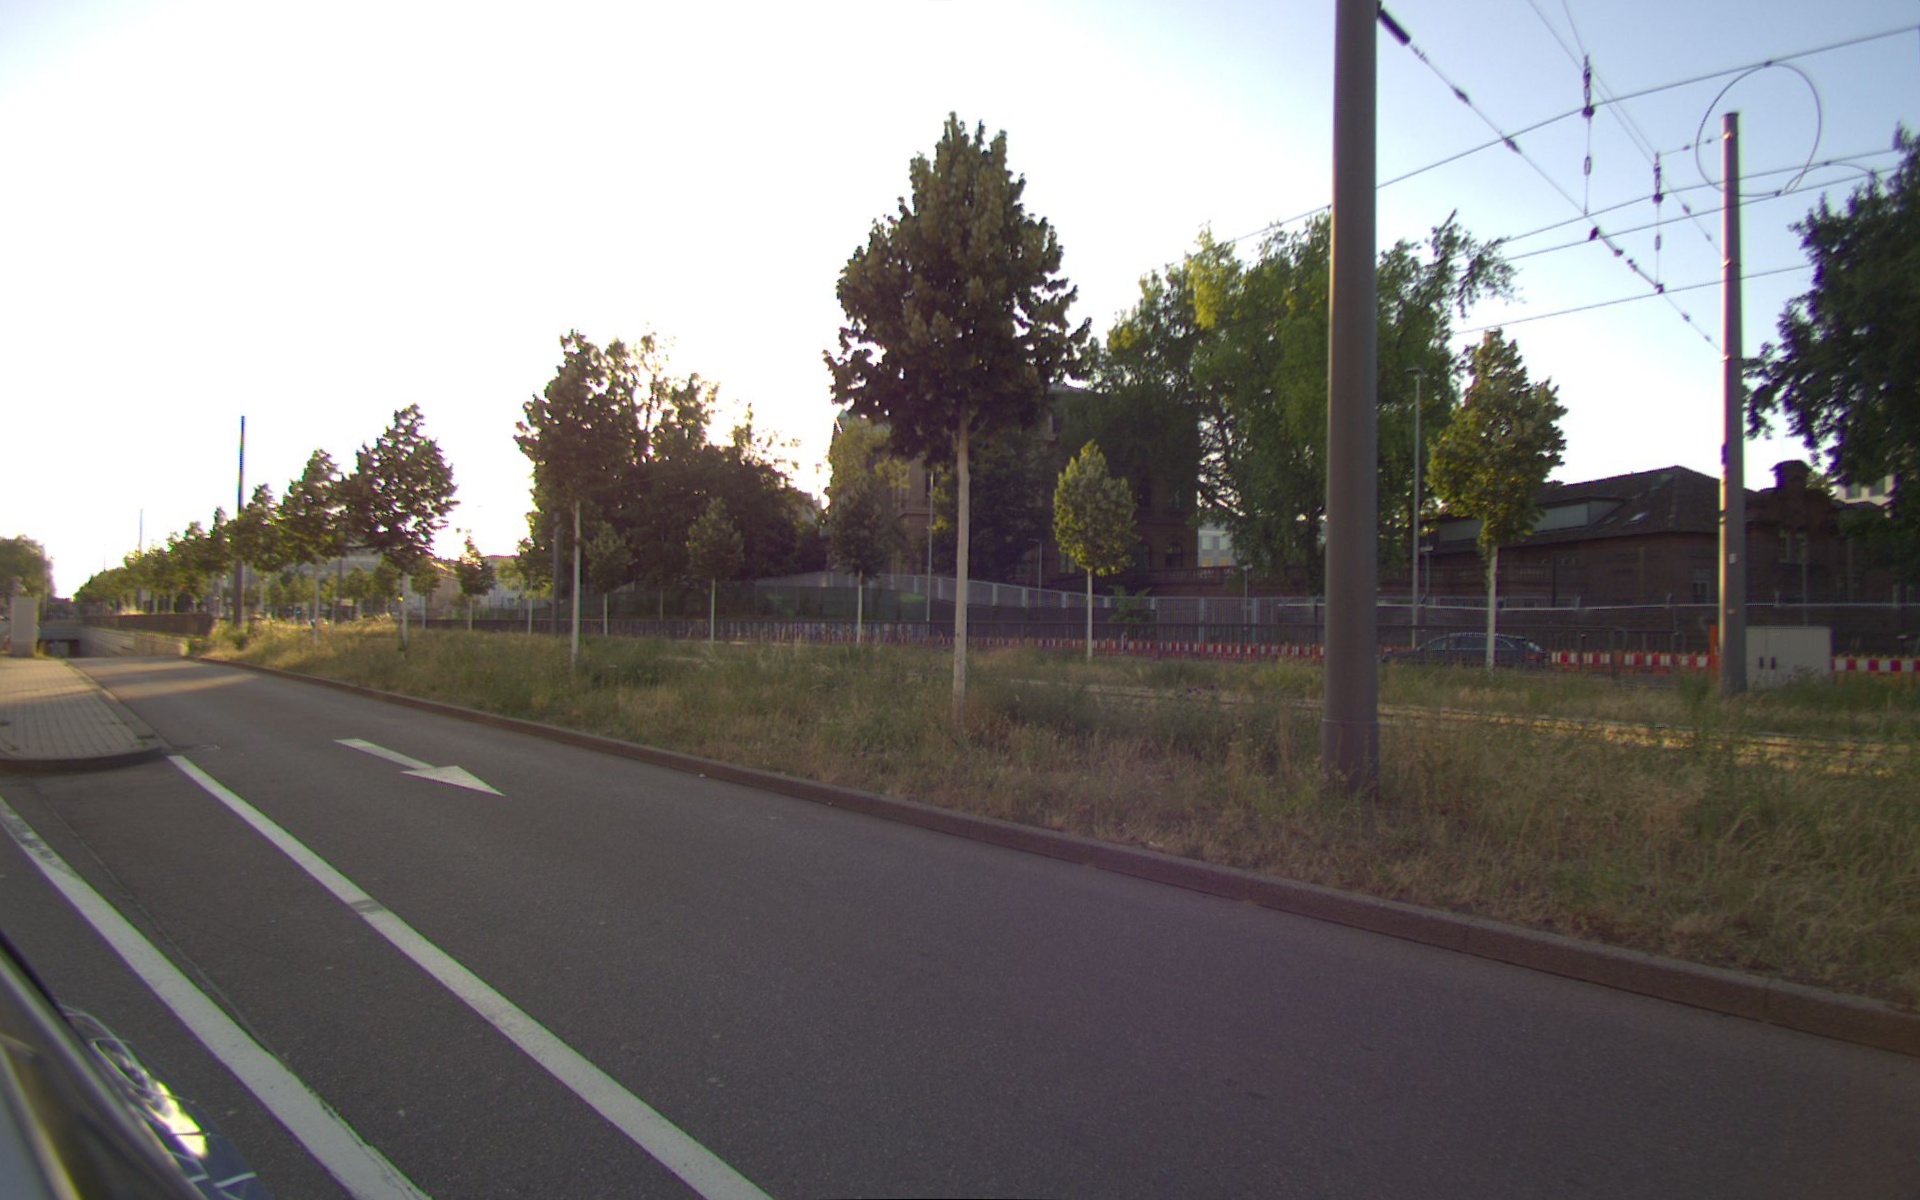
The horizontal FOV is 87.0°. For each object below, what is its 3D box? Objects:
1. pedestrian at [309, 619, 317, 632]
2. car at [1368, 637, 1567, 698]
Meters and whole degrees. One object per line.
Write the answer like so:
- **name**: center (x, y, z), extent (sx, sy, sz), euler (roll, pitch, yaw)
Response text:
- **pedestrian**: center (-88.601, 3.475, 138.575), extent (0.837, 1.861, 0.801), euler (-1, -1, 41)
- **car**: center (13.955, 1.829, 28.045), extent (1.909, 1.492, 4.525), euler (0, -2, -44)
